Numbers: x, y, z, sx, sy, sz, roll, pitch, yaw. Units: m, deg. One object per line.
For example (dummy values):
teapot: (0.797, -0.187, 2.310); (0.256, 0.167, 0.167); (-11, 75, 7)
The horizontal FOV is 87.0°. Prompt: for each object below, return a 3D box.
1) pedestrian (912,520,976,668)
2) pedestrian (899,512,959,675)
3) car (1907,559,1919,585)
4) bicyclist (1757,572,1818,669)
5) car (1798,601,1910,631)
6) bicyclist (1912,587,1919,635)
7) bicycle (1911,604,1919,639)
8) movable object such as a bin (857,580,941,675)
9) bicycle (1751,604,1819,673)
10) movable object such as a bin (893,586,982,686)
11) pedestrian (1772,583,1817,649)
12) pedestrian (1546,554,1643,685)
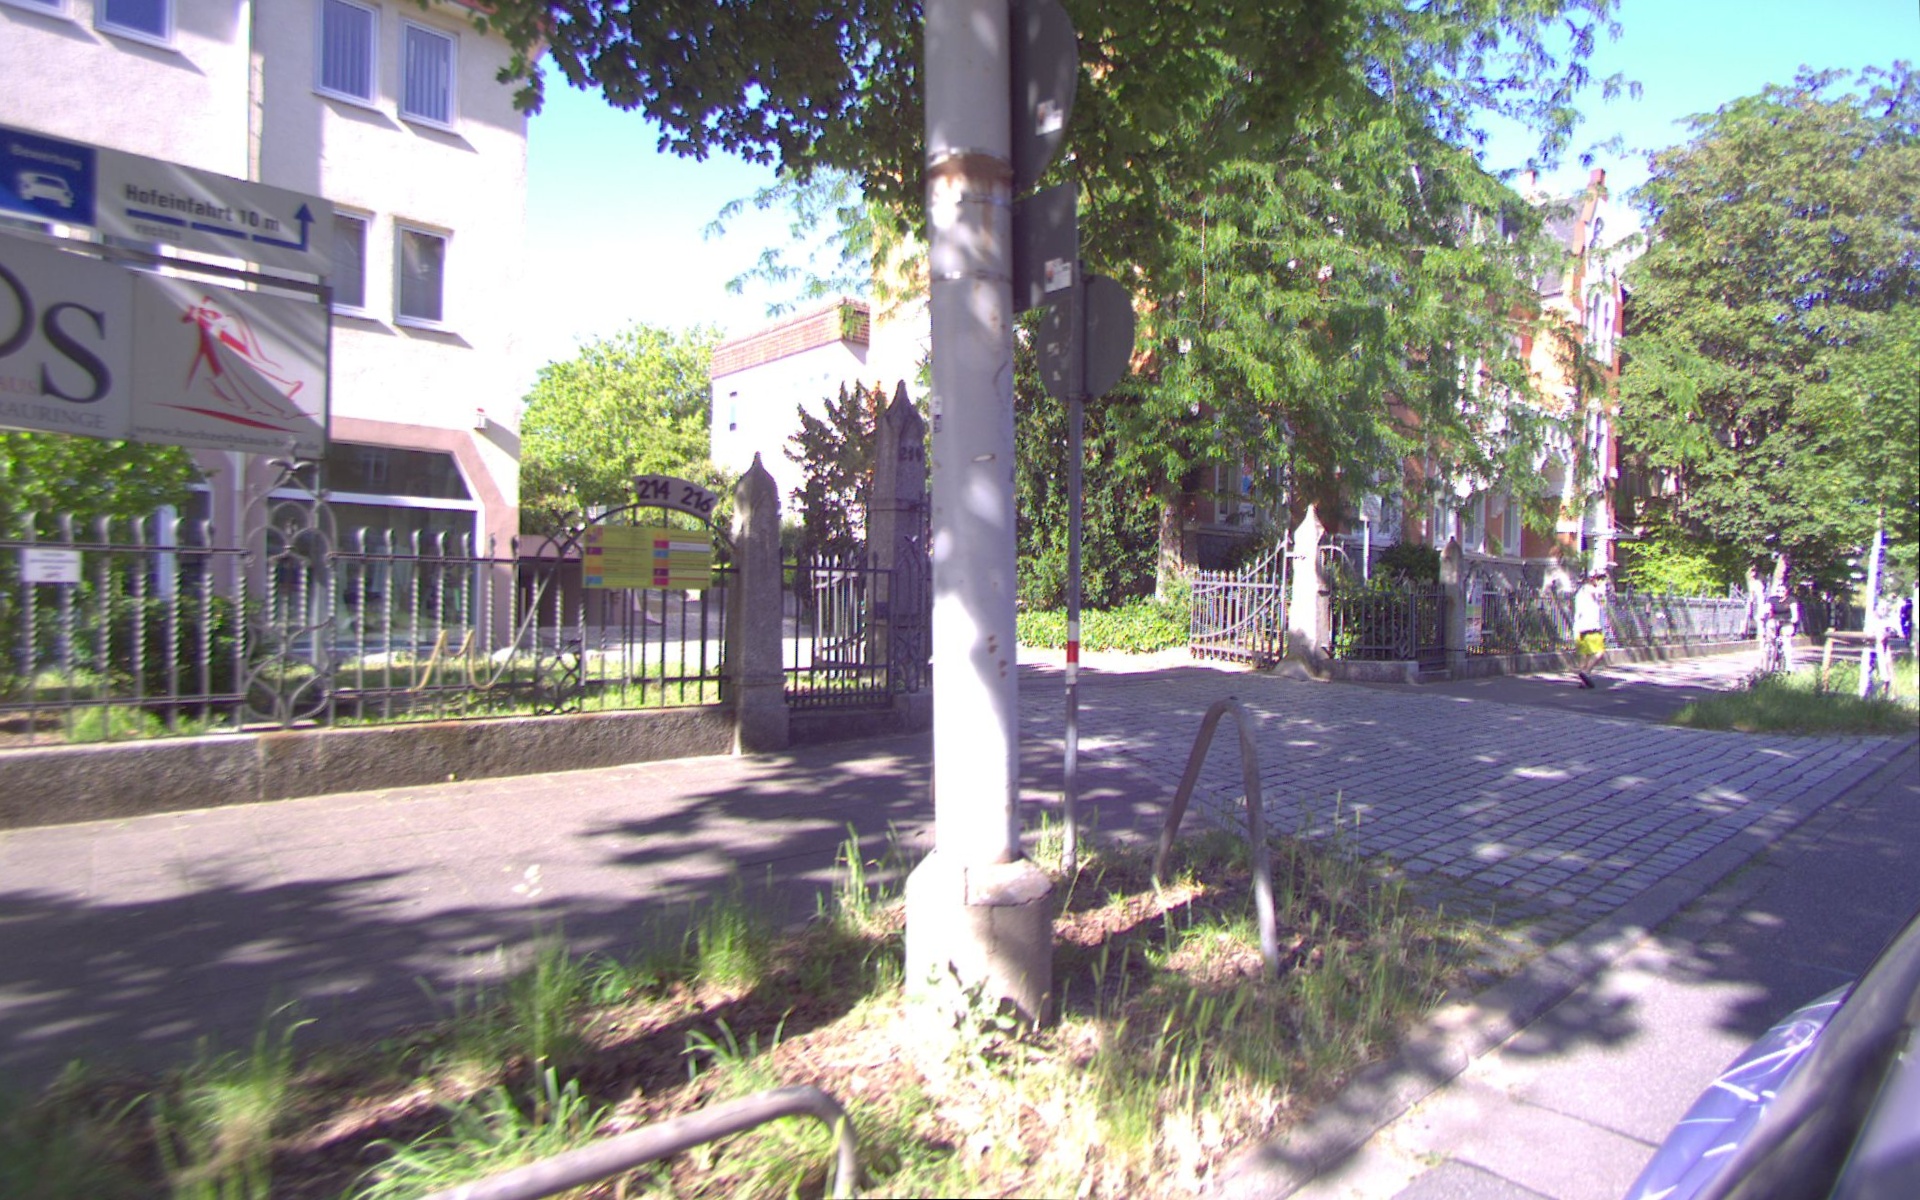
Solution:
pedestrian: (-0.193, -0.080, 12.223); (0.538, 1.730, 0.507); (2, 1, 43)
pedestrian: (-0.350, -0.082, 11.591); (0.525, 1.800, 0.540); (2, 1, 14)
car: (59.530, -1.667, 62.157); (1.843, 1.458, 4.039); (5, 3, 45)
bicyclist: (15.415, 0.372, 18.856); (0.873, 1.716, 0.647); (1, 3, -41)
car: (49.978, 0.853, 56.645); (2.010, 1.435, 4.417); (0, 2, -39)
bicyclist: (34.574, 0.417, 36.220); (0.807, 1.711, 0.621); (1, 3, -45)
bicycle: (34.554, 0.780, 36.236); (0.616, 1.190, 1.888); (5, 4, 45)
movable object such as a bin: (-0.672, 0.284, 11.180); (0.656, 0.977, 0.626); (0, 3, -42)
bicycle: (15.359, 0.689, 18.825); (1.811, 1.190, 0.654); (1, 3, -42)
movable object such as a bin: (-0.239, 0.356, 10.606); (0.656, 0.977, 0.626); (0, 3, -42)
pedestrian: (21.932, 0.409, 26.595); (0.806, 1.678, 0.696); (0, 4, -42)
pedestrian: (9.213, 0.264, 14.721); (0.795, 1.809, 0.751); (2, 2, -3)
